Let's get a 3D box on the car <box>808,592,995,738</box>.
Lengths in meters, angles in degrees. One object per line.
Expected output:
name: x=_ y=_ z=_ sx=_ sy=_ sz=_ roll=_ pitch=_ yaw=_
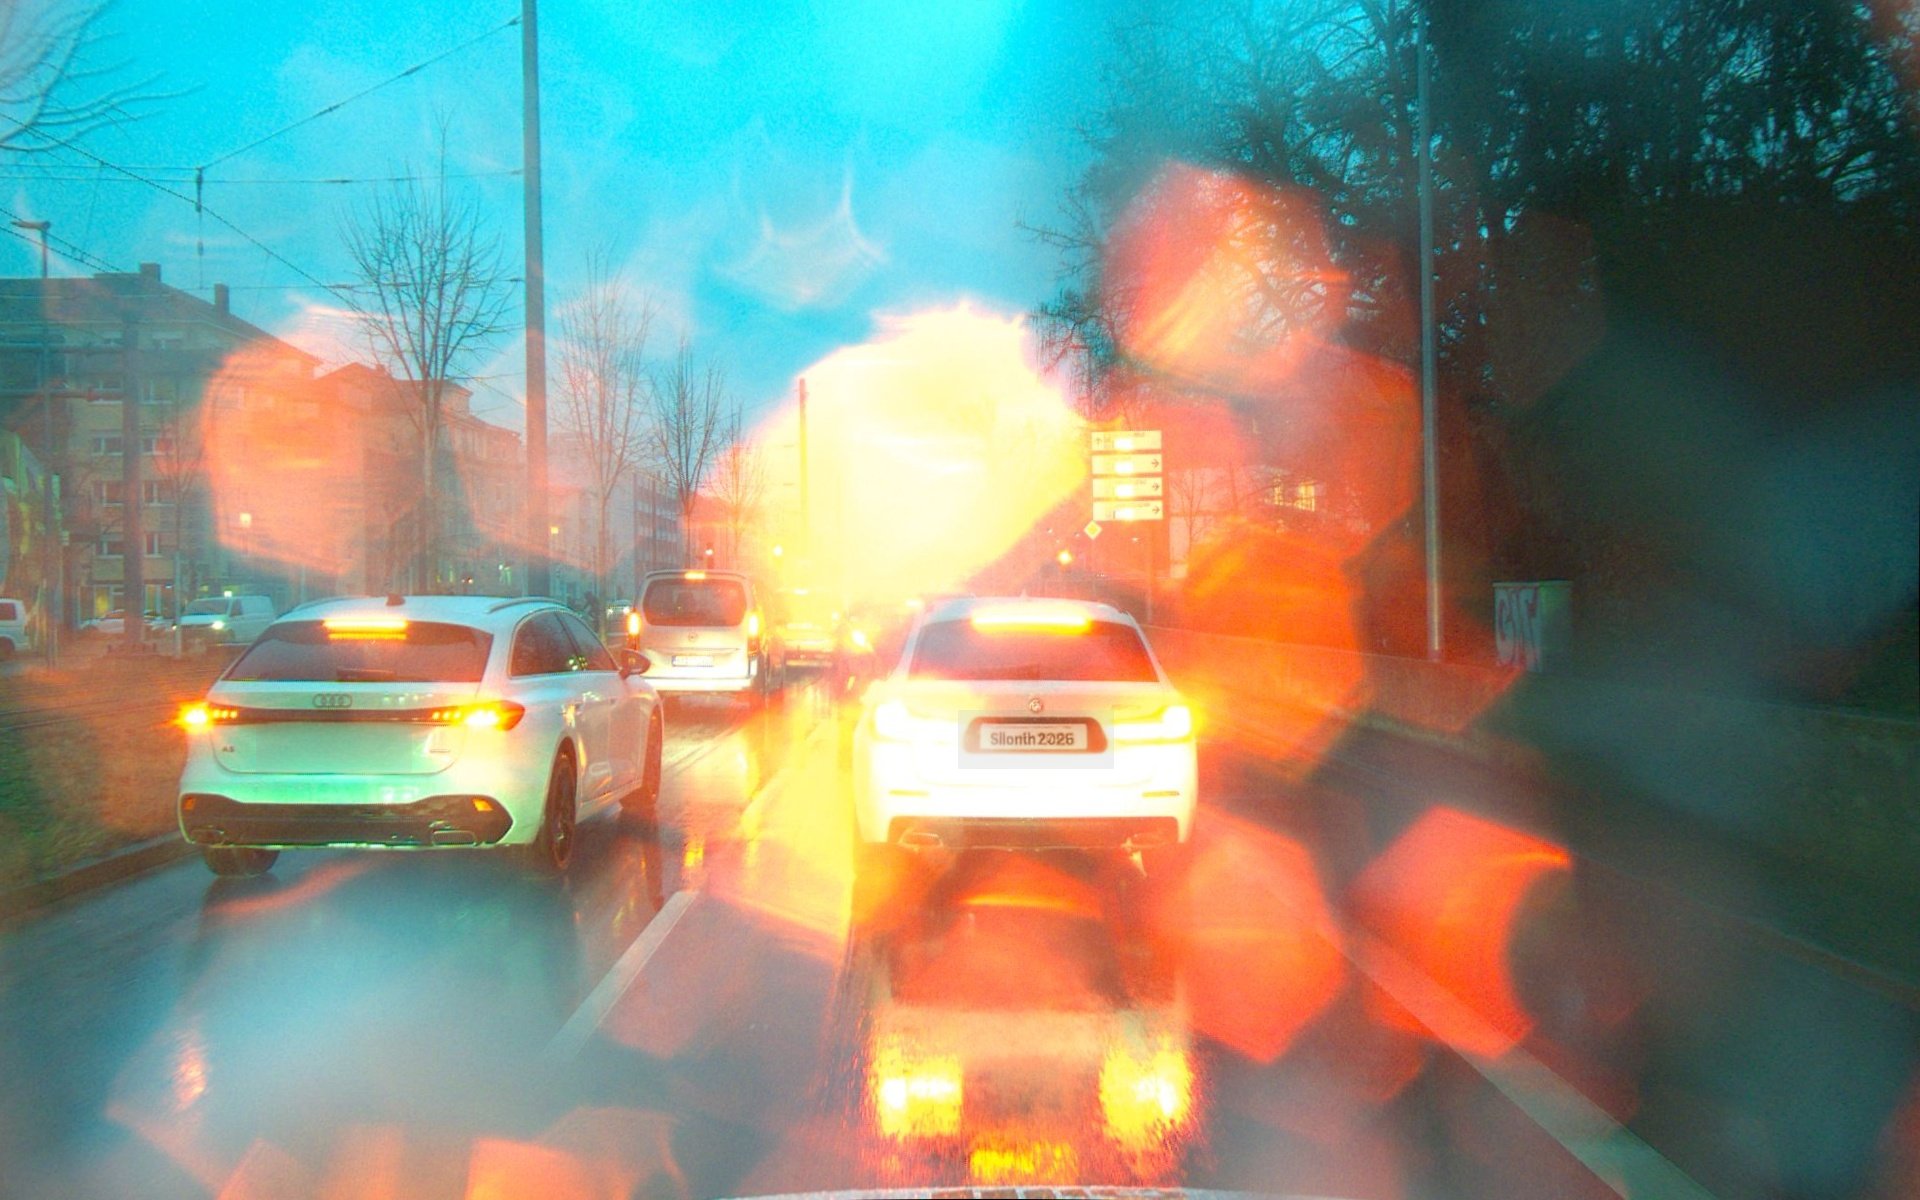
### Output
car: x=-0.629 y=0.648 z=18.926 sx=1.896 sy=1.483 sz=4.162 roll=0 pitch=0 yaw=-1

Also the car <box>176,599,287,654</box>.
car: x=-27.266 y=0.951 z=62.114 sx=1.953 sy=1.945 sz=5.162 roll=-1 pitch=0 yaw=-1

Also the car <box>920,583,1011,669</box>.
car: x=0.080 y=0.494 z=34.162 sx=1.770 sy=1.674 sz=3.999 roll=0 pitch=0 yaw=-1

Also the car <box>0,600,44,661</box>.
car: x=-32.445 y=1.021 z=52.908 sx=1.966 sy=1.945 sz=5.129 roll=-1 pitch=0 yaw=43

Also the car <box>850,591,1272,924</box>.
car: x=0.439 y=0.719 z=9.751 sx=1.959 sy=1.534 sz=4.162 roll=0 pitch=0 yaw=-1

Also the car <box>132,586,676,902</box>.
car: x=-2.920 y=0.661 z=9.838 sx=1.809 sy=1.430 sz=4.612 roll=0 pitch=0 yaw=-2

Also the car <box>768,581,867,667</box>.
car: x=-2.913 y=0.462 z=34.495 sx=1.770 sy=1.674 sz=3.999 roll=0 pitch=0 yaw=-1

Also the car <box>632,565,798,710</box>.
car: x=-3.212 y=0.464 z=22.464 sx=1.757 sy=1.766 sz=4.535 roll=0 pitch=0 yaw=-3

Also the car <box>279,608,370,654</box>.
car: x=-24.502 y=1.160 z=63.965 sx=1.858 sy=1.662 sz=4.579 roll=-1 pitch=0 yaw=-2
